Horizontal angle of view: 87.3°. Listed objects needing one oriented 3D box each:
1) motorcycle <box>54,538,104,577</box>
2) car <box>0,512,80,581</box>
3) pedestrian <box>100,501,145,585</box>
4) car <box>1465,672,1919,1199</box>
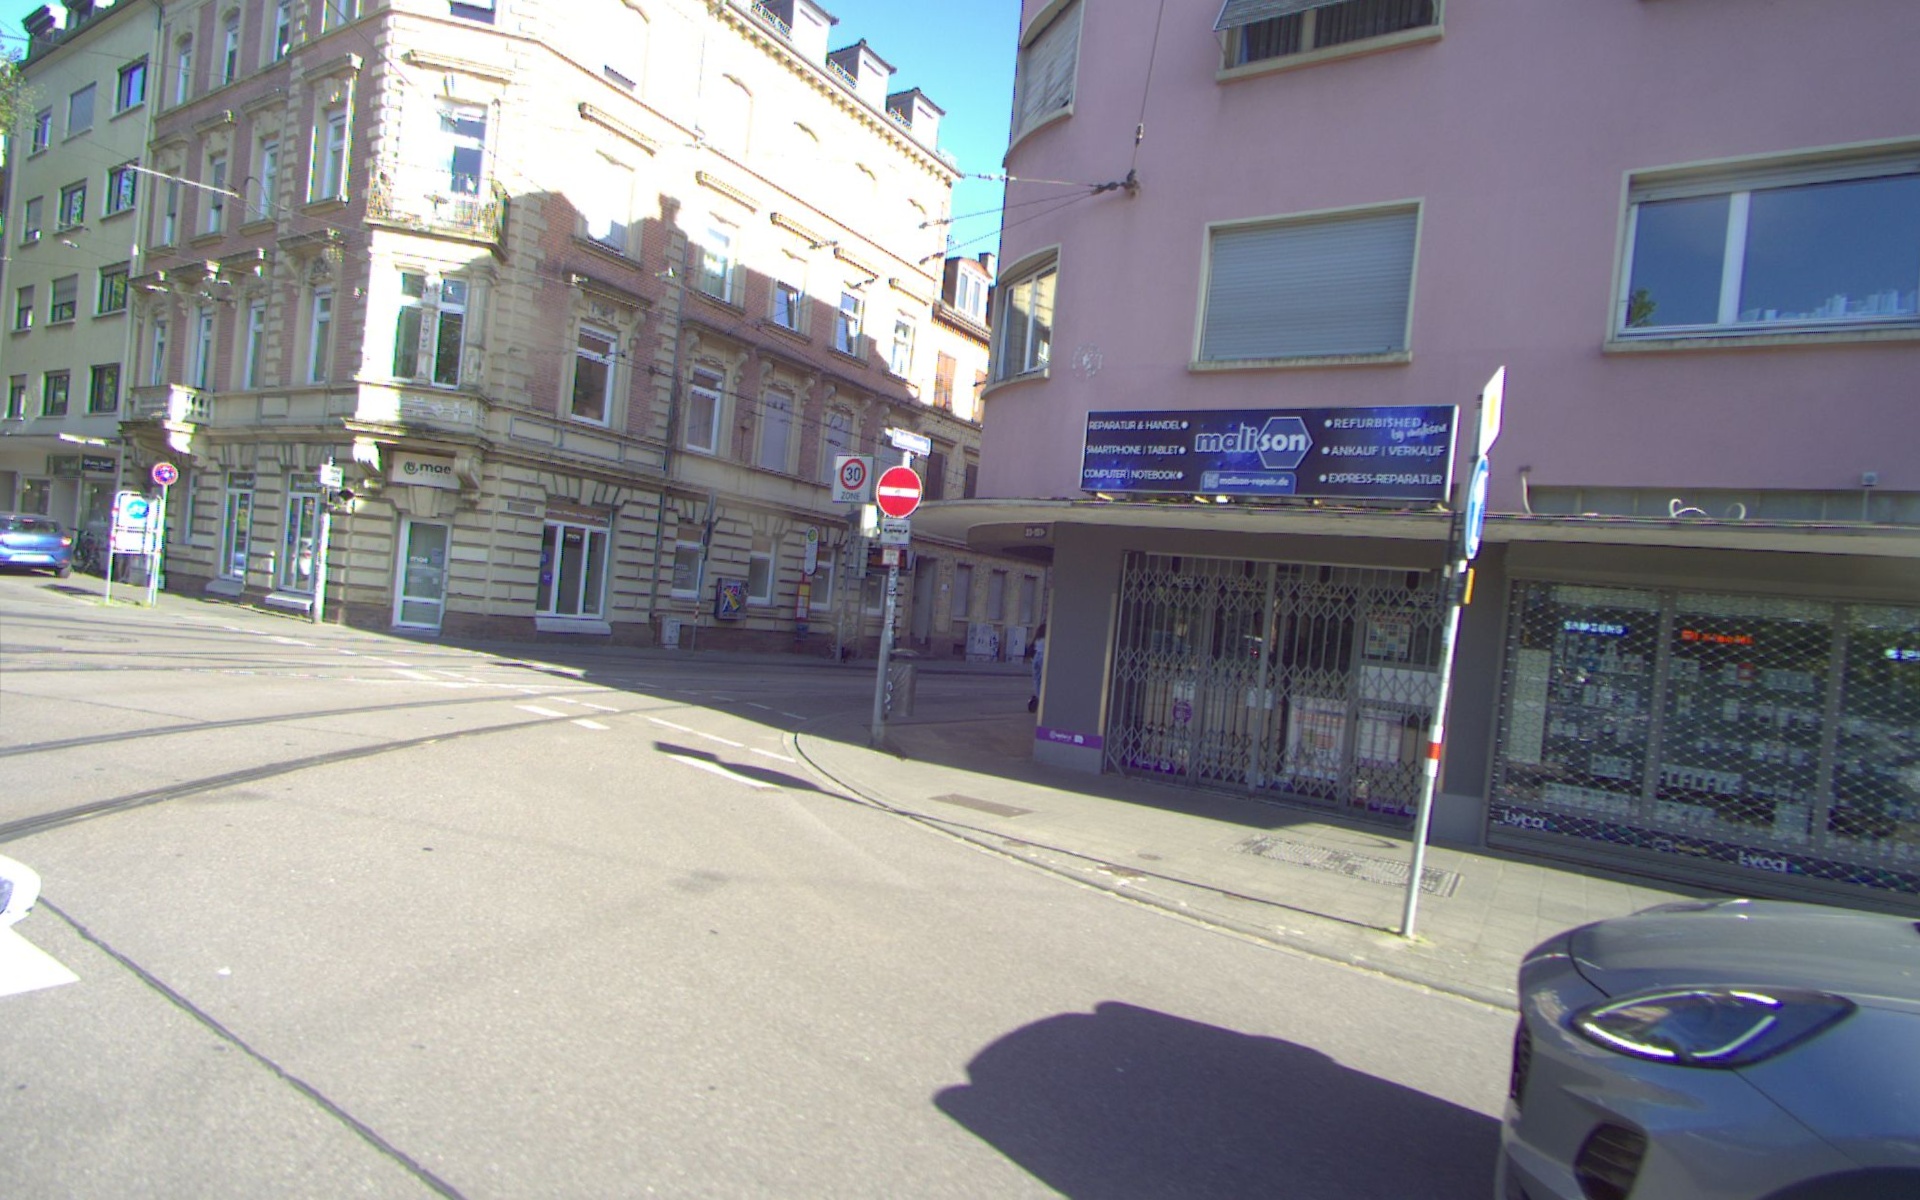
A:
[{"bbox_3d":[-23.490,-1.137,26.819,1.842,0.907,0.485,6,3,32],"label":"motorcycle"},{"bbox_3d":[-24.042,-1.418,25.281,3.932,1.500,1.694,6,2,30],"label":"car"},{"bbox_3d":[-21.548,-1.467,25.879,0.839,2.037,0.512,6,-1,36],"label":"pedestrian"},{"bbox_3d":[3.192,1.156,1.771,3.908,1.499,1.658,6,-2,34],"label":"car"}]
